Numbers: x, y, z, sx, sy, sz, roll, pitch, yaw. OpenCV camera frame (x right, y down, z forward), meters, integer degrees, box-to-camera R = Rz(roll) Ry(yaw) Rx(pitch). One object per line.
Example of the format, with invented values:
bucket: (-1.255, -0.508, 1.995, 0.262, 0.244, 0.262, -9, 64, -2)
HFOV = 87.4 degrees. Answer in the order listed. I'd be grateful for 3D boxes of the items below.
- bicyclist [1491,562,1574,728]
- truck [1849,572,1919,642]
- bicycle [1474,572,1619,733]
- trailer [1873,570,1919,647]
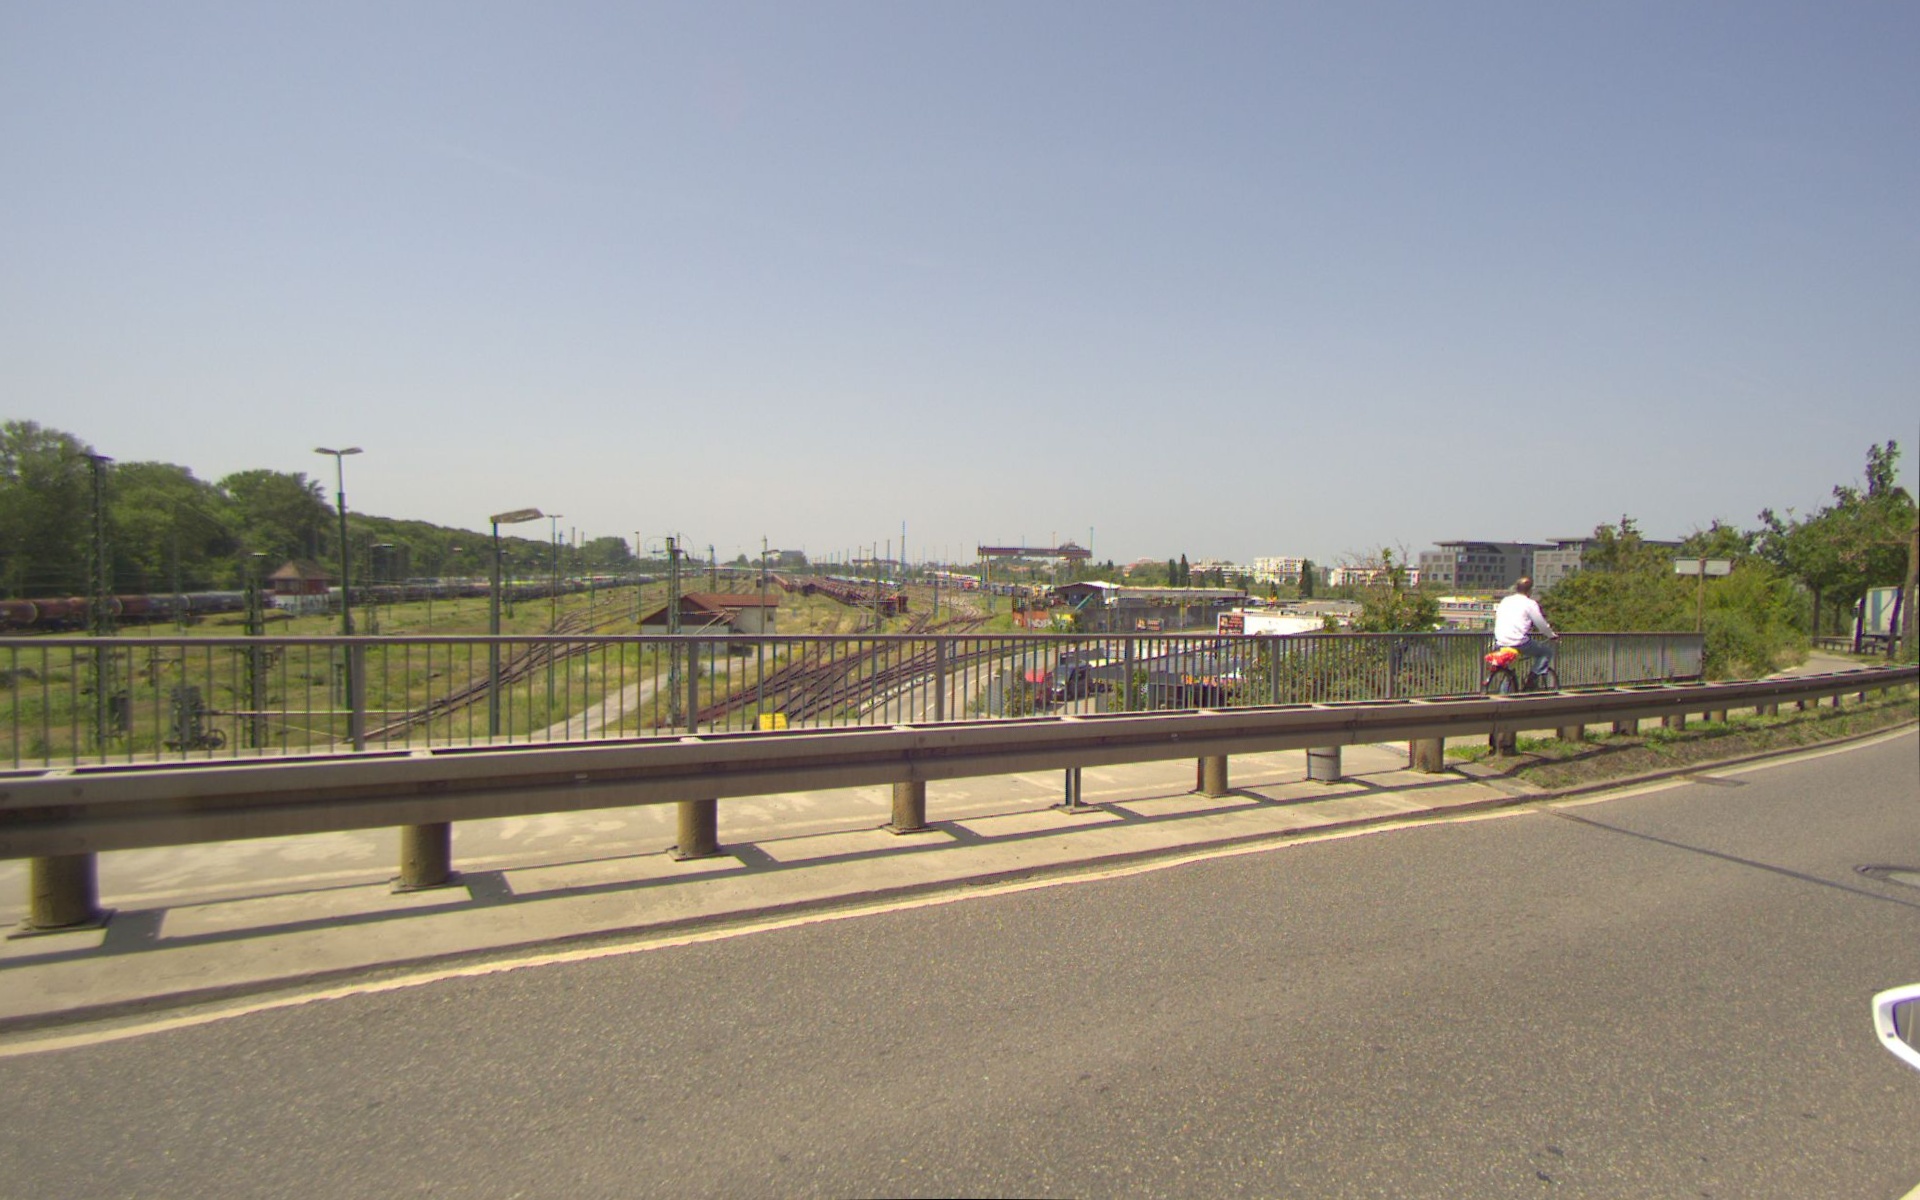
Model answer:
bicyclist: (6.839, 0.513, 12.006, 0.705, 1.911, 0.620, 0, 1, -34)
truck: (62.844, 0.431, 67.310, 3.520, 4.500, 6.502, 0, 0, 30)
bicycle: (7.178, 0.586, 12.253, 2.159, 1.826, 0.693, 0, 1, -35)
trailer: (58.929, 0.458, 60.484, 3.518, 4.443, 11.416, 0, 0, 30)
